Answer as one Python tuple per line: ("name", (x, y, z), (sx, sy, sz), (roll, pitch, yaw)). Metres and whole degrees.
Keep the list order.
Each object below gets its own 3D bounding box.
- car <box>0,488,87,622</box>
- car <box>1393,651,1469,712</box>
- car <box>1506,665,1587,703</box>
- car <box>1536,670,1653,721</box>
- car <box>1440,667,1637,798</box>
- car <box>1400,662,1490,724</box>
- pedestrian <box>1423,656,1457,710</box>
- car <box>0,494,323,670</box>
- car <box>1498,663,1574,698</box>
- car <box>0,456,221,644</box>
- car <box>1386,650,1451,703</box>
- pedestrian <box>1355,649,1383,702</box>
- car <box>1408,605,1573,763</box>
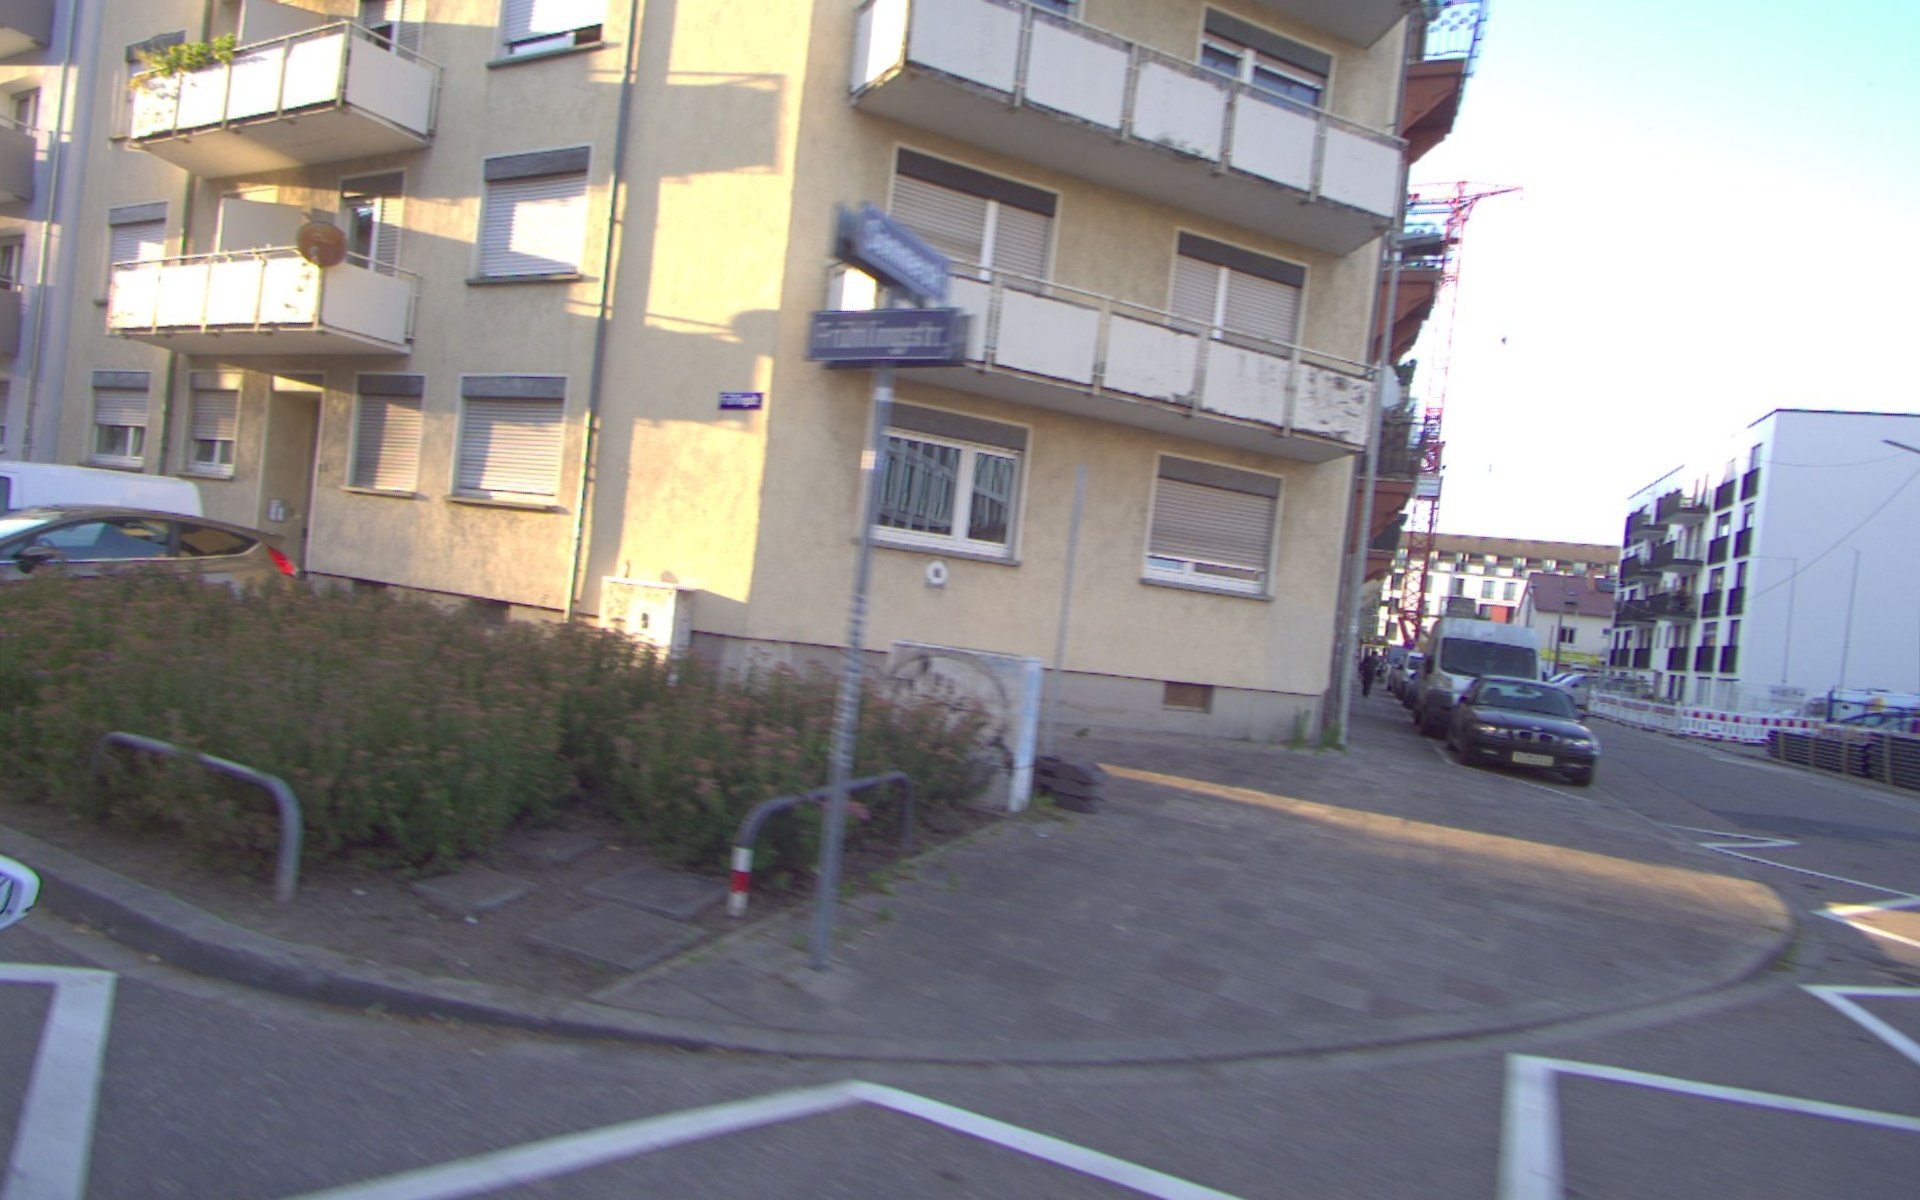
("car", (-12.549, -0.681, 11.126), (1.676, 1.541, 3.963), (7, 0, 26))
("car", (18.068, 3.079, 38.764), (2.163, 1.887, 4.606), (9, 1, 22))
("car", (43.791, 6.259, 75.218), (4.985, 2.096, 1.997), (7, 0, 29))
("car", (35.530, 5.306, 56.478), (4.975, 2.096, 2.001), (7, 0, 13))
("car", (8.762, 1.915, 15.623), (1.963, 1.388, 3.998), (9, 1, 22))
("car", (15.520, 2.922, 32.426), (2.163, 1.462, 4.606), (9, 1, 22))
("pedestrian", (16.285, 2.806, 34.152), (0.771, 1.686, 0.629), (7, 1, 18))
("car", (-8.661, -0.191, 9.660), (1.711, 1.510, 3.881), (7, 0, 26))
("car", (45.522, 6.372, 79.652), (4.985, 2.096, 1.997), (7, 0, 29))
("car", (-10.682, -0.616, 10.574), (1.711, 1.883, 4.289), (6, 0, 26))
("car", (20.202, 3.336, 44.524), (2.163, 1.887, 4.606), (9, 1, 22))
("pedestrian", (14.293, 2.624, 35.182), (0.689, 1.767, 0.729), (7, 1, 25))
("car", (11.021, 1.683, 21.413), (2.191, 2.561, 6.034), (9, 1, 22))
